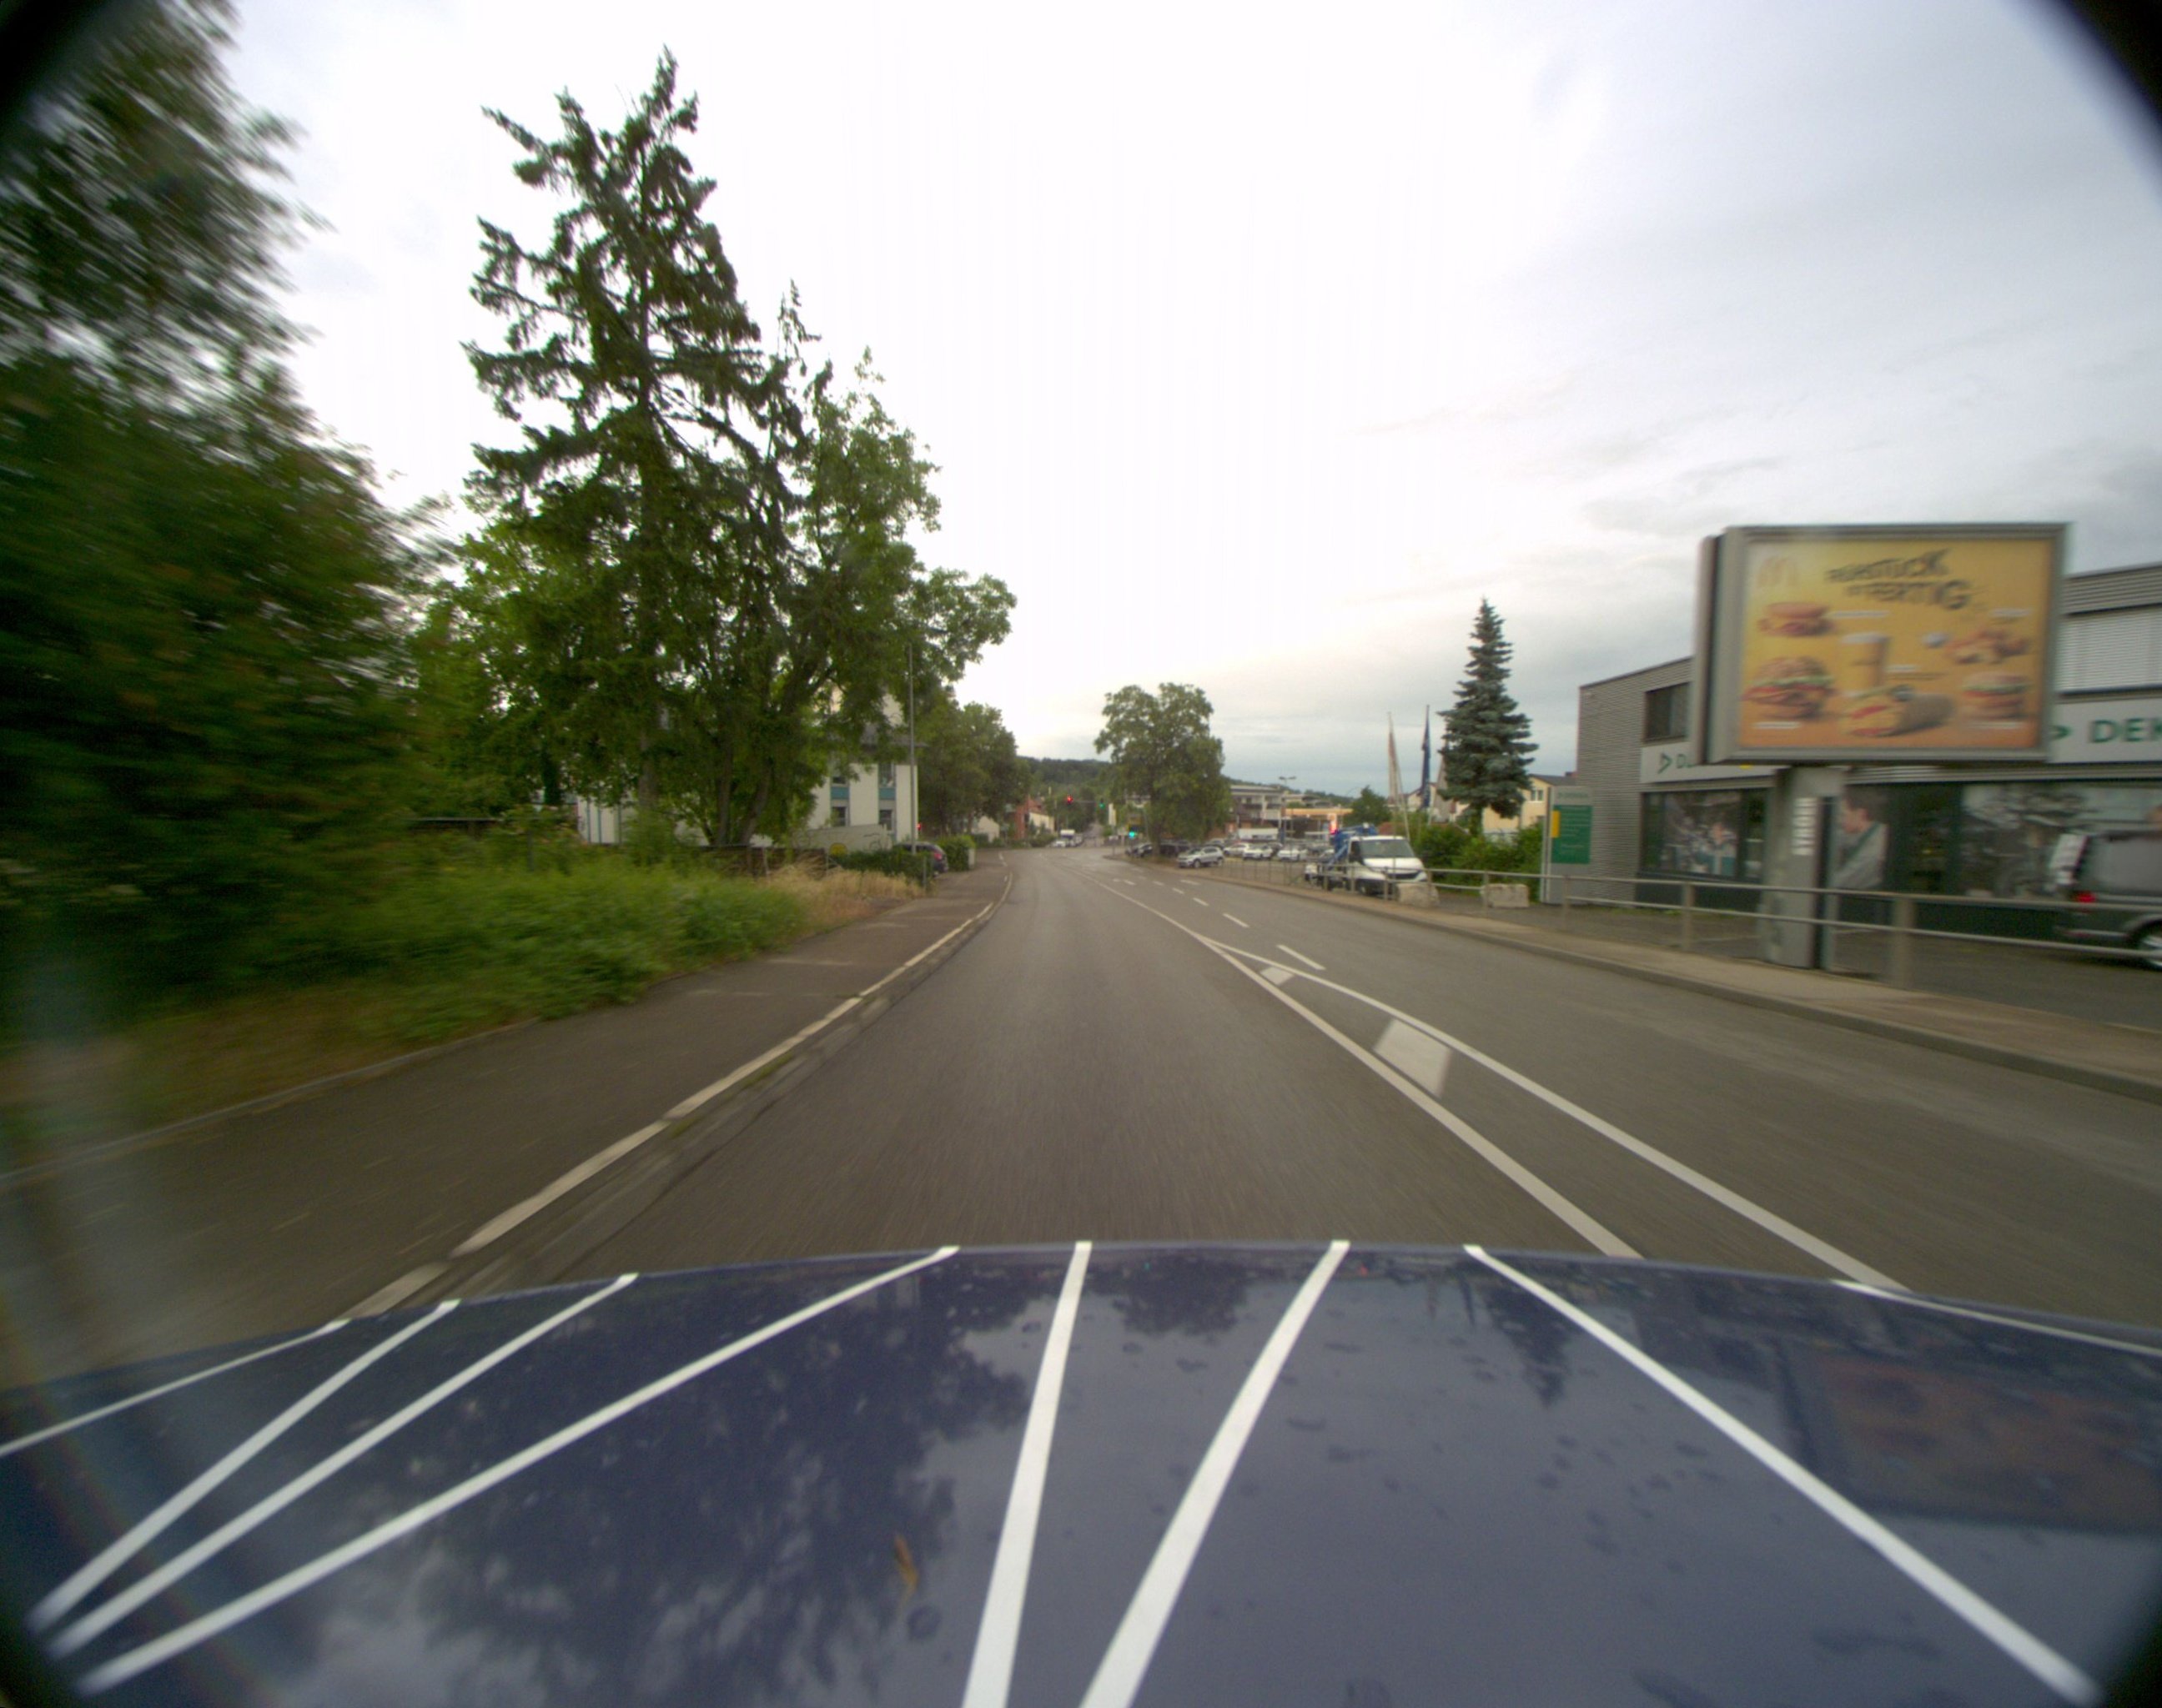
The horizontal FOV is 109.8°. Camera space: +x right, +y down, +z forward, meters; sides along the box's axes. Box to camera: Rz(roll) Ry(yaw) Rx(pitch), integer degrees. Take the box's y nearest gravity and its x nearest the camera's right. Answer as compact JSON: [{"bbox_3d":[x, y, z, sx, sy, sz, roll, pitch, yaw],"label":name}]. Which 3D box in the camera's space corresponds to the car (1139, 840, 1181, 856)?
[{"bbox_3d":[7.649,-0.590,73.751,3.895,1.559,1.671,1,2,-3],"label":"car"}]

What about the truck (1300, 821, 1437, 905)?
[{"bbox_3d":[10.262,0.215,28.037,1.998,2.618,7.890,1,1,0],"label":"truck"}]

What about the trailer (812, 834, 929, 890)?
[{"bbox_3d":[-7.910,0.268,28.869,3.964,2.010,1.685,-1,2,-5],"label":"trailer"}]

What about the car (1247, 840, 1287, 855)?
[{"bbox_3d":[20.573,-0.728,84.107,1.794,1.444,4.031,-1,3,-38],"label":"car"}]

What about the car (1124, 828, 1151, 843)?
[{"bbox_3d":[8.977,-2.942,120.706,1.774,2.094,4.208,-2,6,-37],"label":"car"}]

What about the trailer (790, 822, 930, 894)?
[{"bbox_3d":[-7.701,0.094,26.923,4.551,2.387,1.946,-1,2,-12],"label":"trailer"}]

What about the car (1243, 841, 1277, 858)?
[{"bbox_3d":[17.385,-0.460,73.842,1.785,1.501,4.051,2,3,35],"label":"car"}]

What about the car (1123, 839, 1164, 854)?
[{"bbox_3d":[6.603,-0.780,80.494,4.154,1.502,1.673,1,3,10],"label":"car"}]

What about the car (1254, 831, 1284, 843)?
[{"bbox_3d":[30.181,-2.739,121.774,4.932,1.853,2.047,0,2,-37],"label":"car"}]

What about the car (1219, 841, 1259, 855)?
[{"bbox_3d":[16.906,-0.678,81.546,1.794,1.444,4.031,-1,3,-38],"label":"car"}]

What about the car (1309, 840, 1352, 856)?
[{"bbox_3d":[26.815,-0.674,81.771,1.794,1.546,4.032,-1,3,-34],"label":"car"}]

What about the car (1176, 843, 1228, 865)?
[{"bbox_3d":[9.615,-0.006,60.200,4.015,1.561,1.716,-2,3,-36],"label":"car"}]

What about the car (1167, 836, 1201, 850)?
[{"bbox_3d":[12.198,-1.291,89.913,3.763,1.542,1.596,3,3,43],"label":"car"}]

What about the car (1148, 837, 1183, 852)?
[{"bbox_3d":[9.724,-1.113,87.997,3.763,1.542,1.596,2,3,41],"label":"car"}]

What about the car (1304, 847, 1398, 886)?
[{"bbox_3d":[14.261,0.610,40.357,2.068,1.860,4.270,0,2,-33],"label":"car"}]

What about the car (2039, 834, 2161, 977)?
[{"bbox_3d":[16.578,0.718,9.981,2.004,1.976,4.863,-2,2,-40],"label":"car"}]

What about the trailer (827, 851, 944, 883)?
[{"bbox_3d":[-7.878,0.515,30.978,4.410,1.280,1.571,0,1,-5],"label":"trailer"}]

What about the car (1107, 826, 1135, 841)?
[{"bbox_3d":[6.073,-3.132,116.213,1.774,2.094,4.369,-2,6,-36],"label":"car"}]

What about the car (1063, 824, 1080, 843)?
[{"bbox_3d":[-1.617,-3.602,132.193,2.574,2.759,6.123,2,5,1],"label":"car"}]

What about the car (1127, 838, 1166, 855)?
[{"bbox_3d":[6.574,-0.765,76.582,3.767,1.559,1.671,1,2,0],"label":"car"}]

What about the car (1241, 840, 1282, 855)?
[{"bbox_3d":[19.537,-0.733,82.229,1.794,1.444,4.031,-1,3,-38],"label":"car"}]

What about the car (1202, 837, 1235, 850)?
[{"bbox_3d":[16.927,-1.312,93.751,3.763,1.542,1.596,3,3,43],"label":"car"}]

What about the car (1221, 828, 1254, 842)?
[{"bbox_3d":[24.234,-2.872,117.489,5.266,2.075,2.047,0,2,-37],"label":"car"}]

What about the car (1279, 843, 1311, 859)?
[{"bbox_3d":[20.230,-0.280,71.823,1.824,1.407,4.017,2,2,32],"label":"car"}]

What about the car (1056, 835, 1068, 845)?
[{"bbox_3d":[-2.883,-2.212,116.345,1.769,1.460,3.998,1,2,-2],"label":"car"}]

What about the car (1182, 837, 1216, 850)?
[{"bbox_3d":[14.260,-1.290,91.731,3.763,1.542,1.596,3,3,43],"label":"car"}]

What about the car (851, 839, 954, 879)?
[{"bbox_3d":[-7.930,0.193,34.060,4.225,1.740,1.983,0,1,-3],"label":"car"}]
